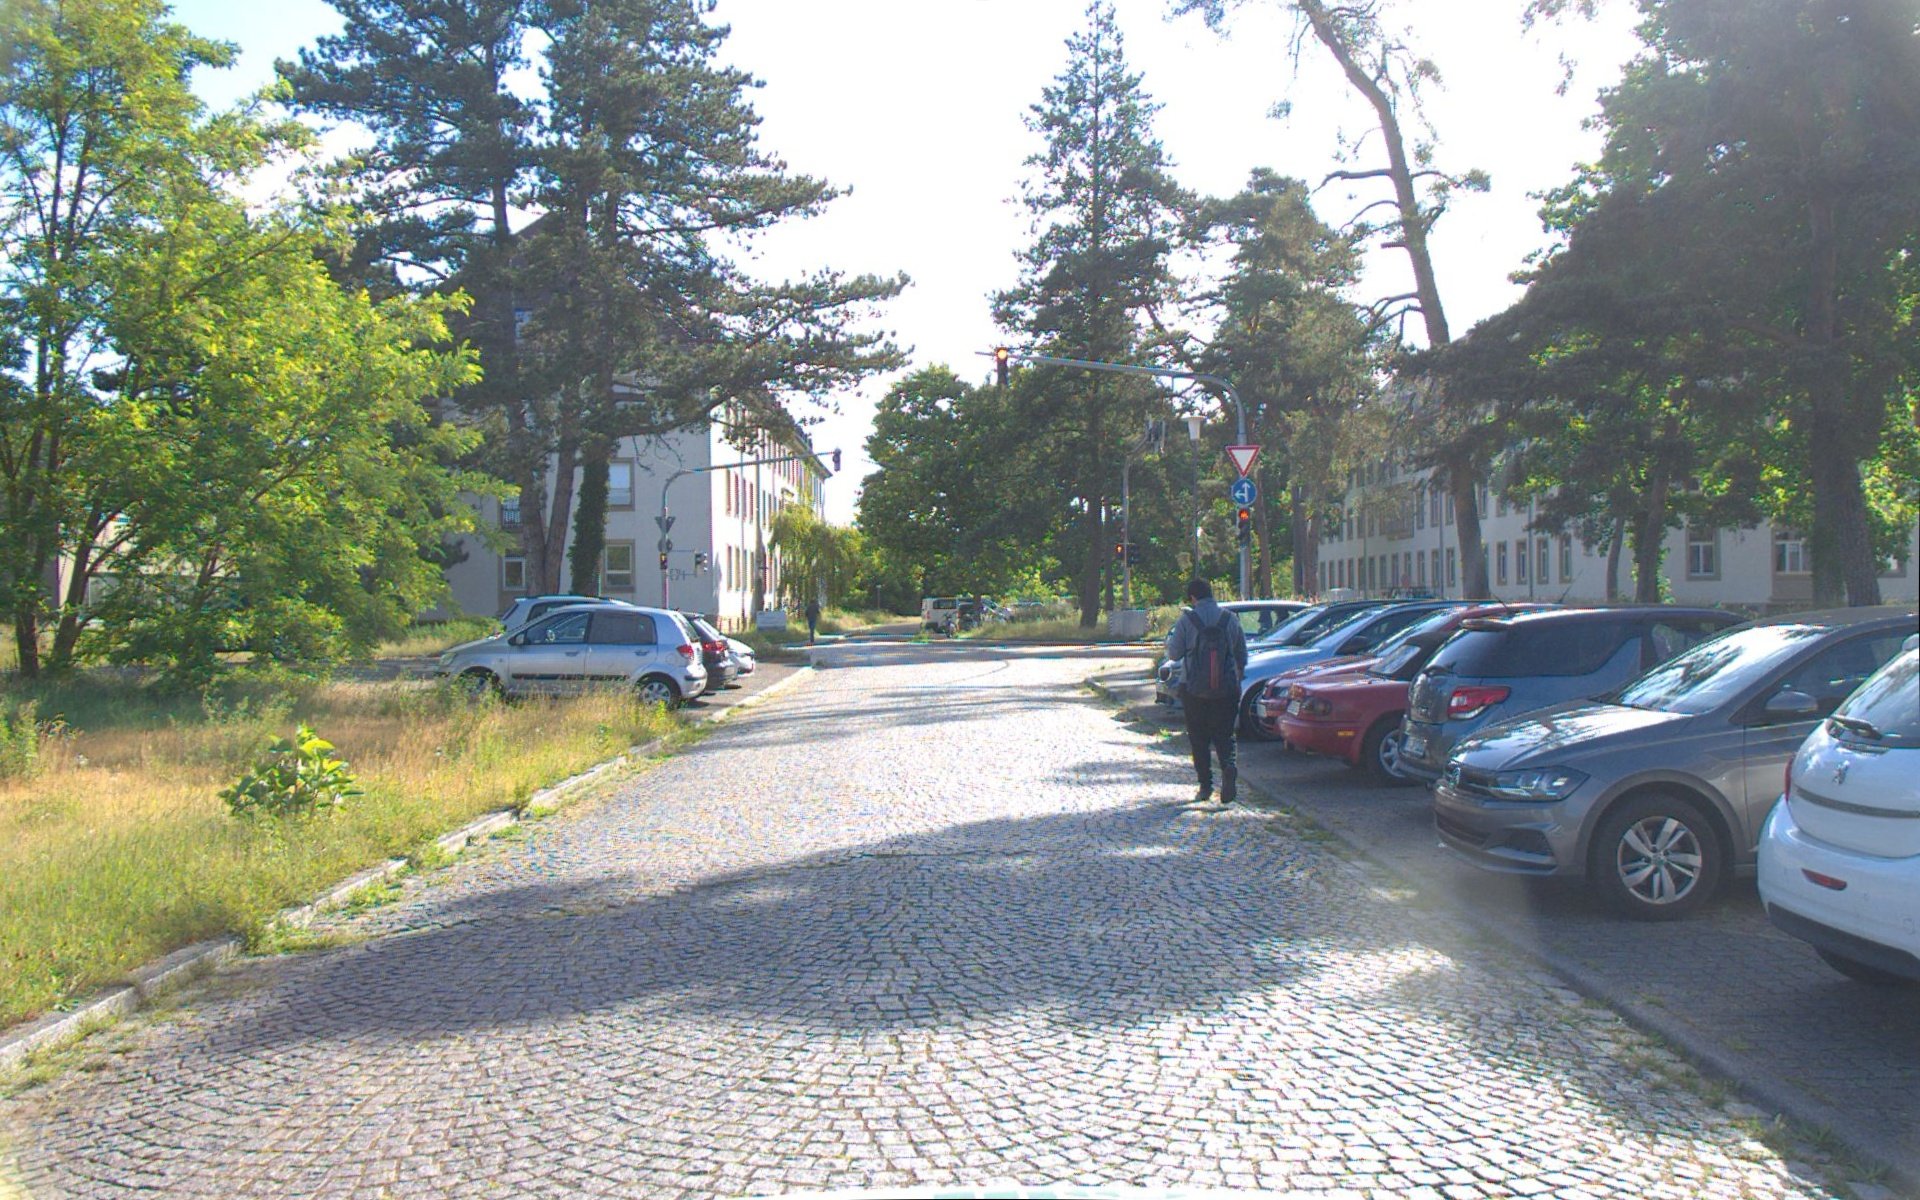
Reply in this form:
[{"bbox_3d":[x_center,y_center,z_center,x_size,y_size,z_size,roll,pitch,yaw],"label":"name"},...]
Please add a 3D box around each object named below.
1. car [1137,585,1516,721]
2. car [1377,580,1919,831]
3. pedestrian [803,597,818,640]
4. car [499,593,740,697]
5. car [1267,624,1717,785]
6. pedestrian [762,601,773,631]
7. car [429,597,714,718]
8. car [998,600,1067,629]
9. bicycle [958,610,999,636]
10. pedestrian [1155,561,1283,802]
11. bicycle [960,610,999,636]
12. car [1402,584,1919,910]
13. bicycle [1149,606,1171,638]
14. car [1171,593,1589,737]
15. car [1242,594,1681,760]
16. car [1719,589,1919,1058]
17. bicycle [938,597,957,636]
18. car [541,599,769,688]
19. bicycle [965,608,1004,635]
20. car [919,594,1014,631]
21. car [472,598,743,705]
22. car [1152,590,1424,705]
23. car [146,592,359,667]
[{"bbox_3d":[4.762,0.666,21.931,4.528,1.481,1.869,-3,0,-3],"label":"car"},{"bbox_3d":[4.962,0.682,11.615,3.589,1.480,1.666,-3,0,-1],"label":"car"},{"bbox_3d":[-6.339,0.778,70.126,0.594,1.783,0.630,0,0,-1],"label":"pedestrian"},{"bbox_3d":[-5.824,0.765,28.621,3.801,1.643,1.660,2,0,-2],"label":"car"},{"bbox_3d":[4.499,0.864,14.309,3.390,1.264,1.536,-1,0,0],"label":"car"},{"bbox_3d":[-10.120,0.847,87.027,0.595,1.587,0.544,0,0,-7],"label":"pedestrian"},{"bbox_3d":[-5.398,0.785,23.324,3.612,1.554,1.698,2,0,-3],"label":"car"},{"bbox_3d":[4.156,0.819,95.043,3.673,1.607,1.738,0,0,-8],"label":"car"},{"bbox_3d":[0.821,1.020,73.191,1.798,1.132,0.495,-1,0,-4],"label":"bicycle"},{"bbox_3d":[1.984,0.610,12.776,0.738,1.755,0.828,4,0,-1],"label":"pedestrian"},{"bbox_3d":[0.882,1.021,73.736,1.693,1.132,0.483,-1,0,-4],"label":"bicycle"},{"bbox_3d":[4.465,0.687,8.844,3.703,1.476,1.758,-2,0,1],"label":"car"},{"bbox_3d":[7.421,0.813,61.380,0.706,1.134,2.586,-1,0,9],"label":"bicycle"},{"bbox_3d":[4.732,0.712,19.036,4.310,1.413,1.788,-2,0,-2],"label":"car"},{"bbox_3d":[4.964,0.738,16.706,3.899,1.474,1.655,-2,0,-1],"label":"car"},{"bbox_3d":[4.884,0.693,5.918,3.570,1.518,1.634,-1,0,0],"label":"car"},{"bbox_3d":[-0.538,0.692,69.716,0.738,1.608,2.536,0,0,-1],"label":"bicycle"},{"bbox_3d":[-5.762,0.804,31.515,3.903,1.522,1.773,2,0,4],"label":"car"},{"bbox_3d":[1.106,0.984,74.421,1.693,1.185,0.560,-1,0,-4],"label":"bicycle"},{"bbox_3d":[0.344,0.682,91.081,4.975,1.952,1.995,-1,0,-10],"label":"car"},{"bbox_3d":[-5.463,0.784,25.986,3.858,1.470,1.690,3,0,-2],"label":"car"},{"bbox_3d":[4.754,0.678,24.301,3.598,1.468,1.665,-2,0,-1],"label":"car"},{"bbox_3d":[-16.404,0.670,38.482,4.059,1.636,2.010,-1,0,0],"label":"car"}]
